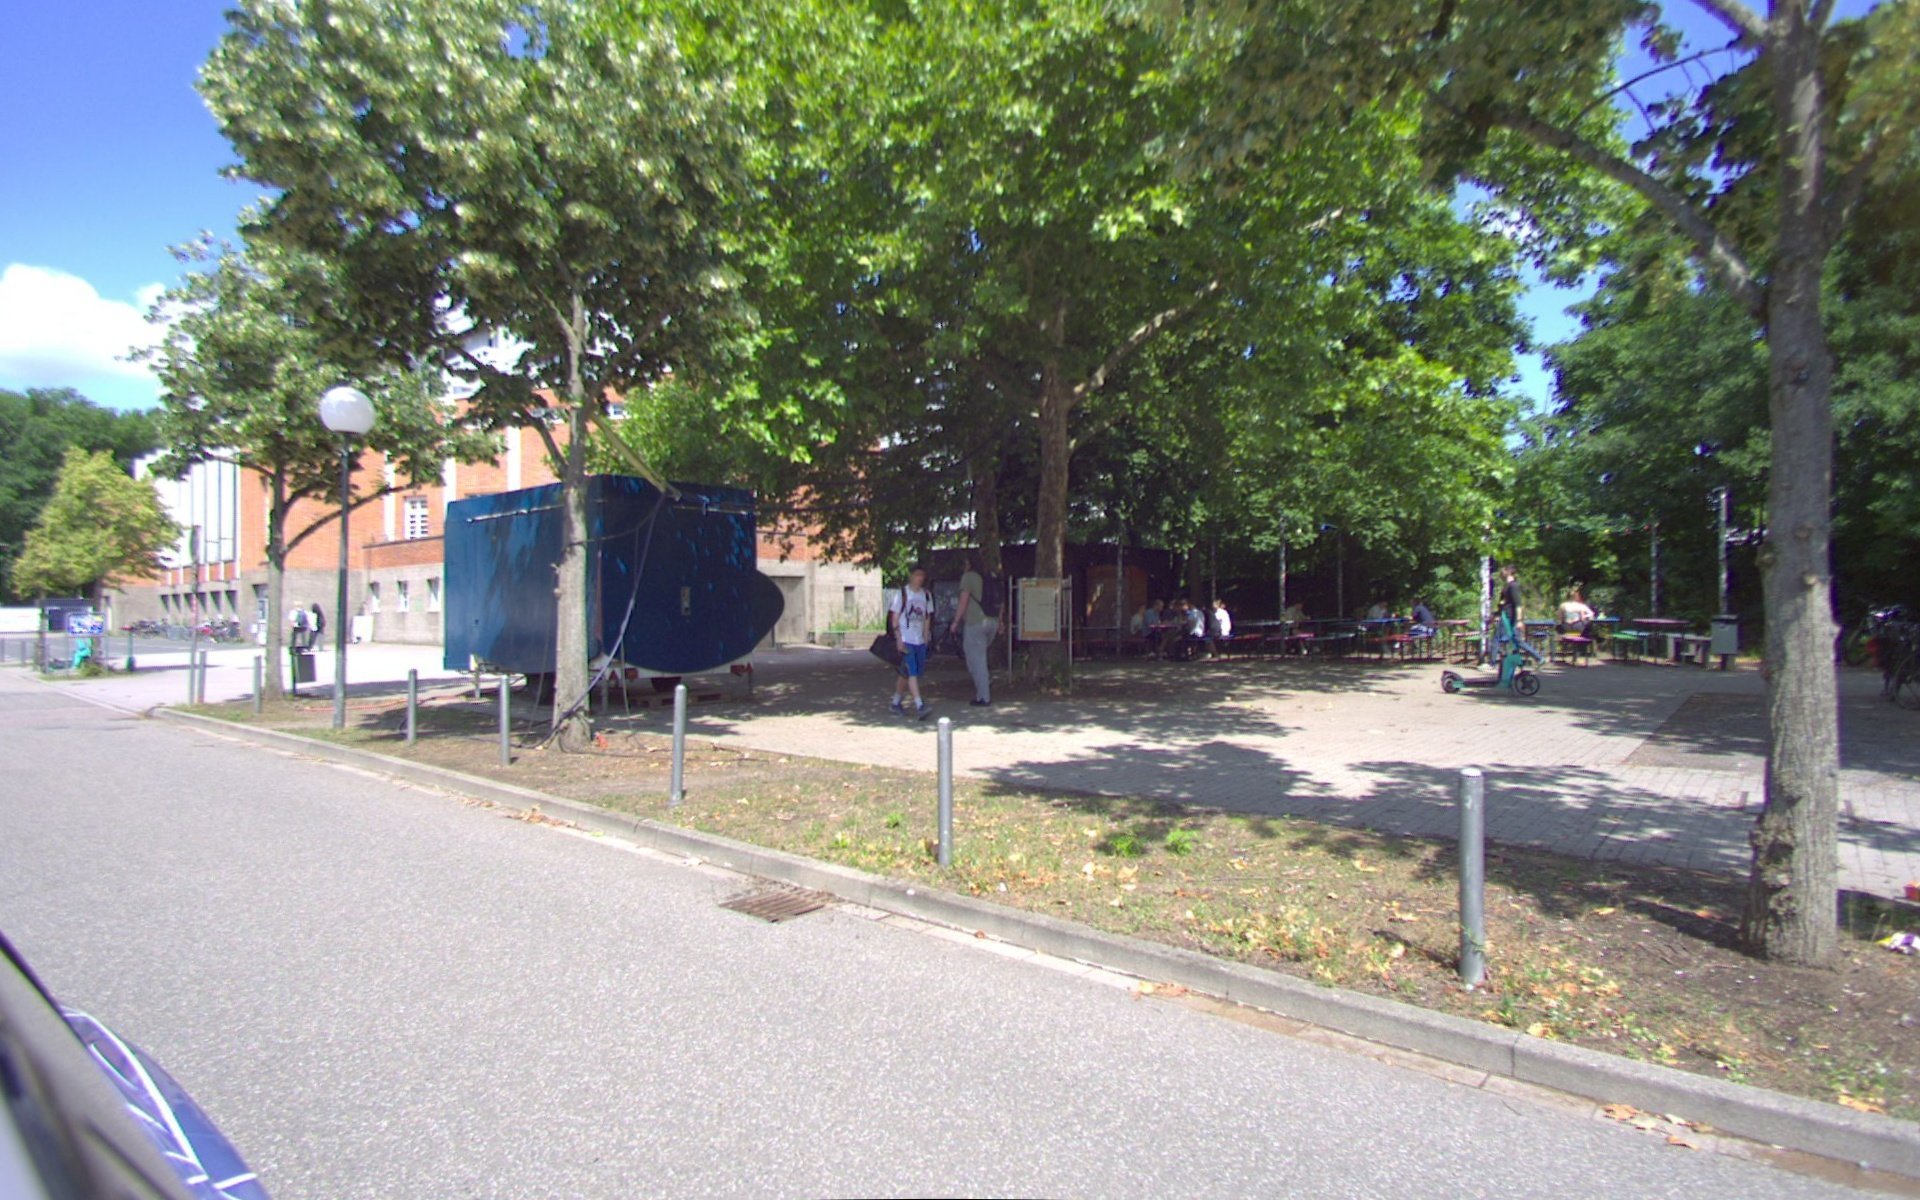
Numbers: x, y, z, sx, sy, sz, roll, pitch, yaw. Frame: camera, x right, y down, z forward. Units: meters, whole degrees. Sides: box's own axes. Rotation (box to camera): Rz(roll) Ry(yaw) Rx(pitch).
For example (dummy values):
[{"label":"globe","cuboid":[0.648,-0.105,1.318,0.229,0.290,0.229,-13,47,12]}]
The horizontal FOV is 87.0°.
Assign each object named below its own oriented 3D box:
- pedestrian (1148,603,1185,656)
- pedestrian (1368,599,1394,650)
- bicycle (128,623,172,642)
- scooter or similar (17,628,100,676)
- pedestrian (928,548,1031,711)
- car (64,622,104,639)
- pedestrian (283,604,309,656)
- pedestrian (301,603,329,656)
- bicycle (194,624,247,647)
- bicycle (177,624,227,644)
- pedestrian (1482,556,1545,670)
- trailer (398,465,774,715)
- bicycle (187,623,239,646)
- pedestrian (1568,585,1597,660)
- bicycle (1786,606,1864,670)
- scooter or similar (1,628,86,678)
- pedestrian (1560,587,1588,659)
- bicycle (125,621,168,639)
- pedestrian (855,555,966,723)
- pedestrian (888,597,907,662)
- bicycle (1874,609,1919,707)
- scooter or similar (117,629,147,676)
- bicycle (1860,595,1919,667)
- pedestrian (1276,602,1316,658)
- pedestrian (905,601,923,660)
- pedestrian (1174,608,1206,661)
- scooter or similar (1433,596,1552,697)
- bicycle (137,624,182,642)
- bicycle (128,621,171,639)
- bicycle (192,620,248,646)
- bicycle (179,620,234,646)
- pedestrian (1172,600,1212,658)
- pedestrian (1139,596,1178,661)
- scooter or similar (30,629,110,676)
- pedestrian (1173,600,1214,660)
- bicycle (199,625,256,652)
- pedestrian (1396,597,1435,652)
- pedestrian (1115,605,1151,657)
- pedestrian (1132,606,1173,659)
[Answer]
[{"label":"pedestrian","cuboid":[5.100,0.719,24.954,0.693,1.281,0.554,-1,0,41]},{"label":"pedestrian","cuboid":[9.572,0.550,23.005,0.505,1.148,0.333,-1,0,30]},{"label":"bicycle","cuboid":[-46.570,1.842,58.214,0.529,1.038,1.931,-1,-1,39]},{"label":"scooter or similar","cuboid":[-24.042,1.374,27.004,1.548,1.234,0.567,0,-1,-22]},{"label":"pedestrian","cuboid":[0.248,0.343,12.899,0.906,1.969,0.894,-3,2,-39]},{"label":"car","cuboid":[-65.929,2.283,76.200,0.524,1.189,2.259,-1,-1,42]},{"label":"pedestrian","cuboid":[-22.614,1.010,34.461,0.805,1.775,0.557,-1,-1,40]},{"label":"pedestrian","cuboid":[-22.291,1.013,34.951,0.917,1.793,0.570,-1,-1,40]},{"label":"bicycle","cuboid":[-35.727,1.704,48.889,0.621,1.090,1.989,-1,-1,39]},{"label":"bicycle","cuboid":[-38.390,1.730,51.250,0.684,0.967,1.931,-1,-1,39]},{"label":"pedestrian","cuboid":[9.278,0.209,16.978,0.805,1.862,0.524,-1,0,41]},{"label":"trailer","cuboid":[-5.889,-0.101,15.416,6.262,3.049,2.669,-1,0,41]},{"label":"bicycle","cuboid":[-37.009,1.686,50.165,0.663,1.069,2.001,-1,-1,39]},{"label":"pedestrian","cuboid":[13.012,0.462,21.152,0.472,1.534,0.502,-1,0,30]},{"label":"bicycle","cuboid":[14.155,0.592,16.601,0.544,0.949,1.867,0,1,27]},{"label":"scooter or similar","cuboid":[-23.836,1.370,26.351,1.548,1.234,0.526,0,-1,-22]},{"label":"pedestrian","cuboid":[12.456,0.464,20.541,0.458,1.433,0.501,-1,0,31]},{"label":"bicycle","cuboid":[-48.670,1.788,60.555,0.541,1.038,1.931,-1,-1,39]},{"label":"pedestrian","cuboid":[-0.578,0.427,11.701,0.986,1.844,0.791,-1,0,41]},{"label":"pedestrian","cuboid":[-1.692,0.792,27.478,0.441,1.723,0.531,-2,0,-3]},{"label":"bicycle","cuboid":[10.888,0.637,11.625,0.537,1.022,1.783,-1,0,43]},{"label":"scooter or similar","cuboid":[-21.923,1.373,26.798,0.556,1.158,1.352,0,-1,-37]},{"label":"bicycle","cuboid":[15.154,0.470,16.236,0.594,1.099,1.940,0,1,27]},{"label":"pedestrian","cuboid":[7.711,0.678,23.220,0.764,1.260,0.565,-1,0,29]},{"label":"pedestrian","cuboid":[-1.273,0.846,28.030,0.407,1.605,0.606,-2,0,-1]},{"label":"pedestrian","cuboid":[5.876,0.863,25.825,0.559,1.333,0.638,-1,-1,42]},{"label":"scooter or similar","cuboid":[6.980,0.583,13.281,1.241,1.255,0.691,-1,0,41]},{"label":"bicycle","cuboid":[-45.254,1.871,57.204,0.568,0.948,1.931,-1,-1,39]},{"label":"bicycle","cuboid":[-48.014,1.778,59.965,0.518,1.038,1.931,-1,-1,39]},{"label":"bicycle","cuboid":[-34.357,1.518,47.001,0.592,1.134,2.000,-1,-1,41]},{"label":"bicycle","cuboid":[-35.095,1.536,47.154,0.439,1.134,1.999,-1,0,44]},{"label":"pedestrian","cuboid":[5.155,0.634,22.513,0.733,1.242,0.594,-3,-1,7]},{"label":"pedestrian","cuboid":[4.361,0.614,22.287,0.733,1.379,0.594,-3,-1,7]},{"label":"scooter or similar","cuboid":[-24.411,1.417,27.790,1.548,1.234,0.572,0,-1,-22]},{"label":"pedestrian","cuboid":[5.041,0.636,21.901,0.733,1.242,0.594,-3,-1,7]},{"label":"bicycle","cuboid":[-33.045,1.728,45.694,0.666,1.134,2.001,-1,-1,39]},{"label":"pedestrian","cuboid":[10.206,0.547,22.686,0.728,1.203,0.388,-1,0,32]},{"label":"pedestrian","cuboid":[4.375,0.769,25.602,0.693,1.281,0.554,-1,0,41]},{"label":"pedestrian","cuboid":[5.013,0.839,26.355,0.778,1.333,0.680,-1,-1,42]}]
